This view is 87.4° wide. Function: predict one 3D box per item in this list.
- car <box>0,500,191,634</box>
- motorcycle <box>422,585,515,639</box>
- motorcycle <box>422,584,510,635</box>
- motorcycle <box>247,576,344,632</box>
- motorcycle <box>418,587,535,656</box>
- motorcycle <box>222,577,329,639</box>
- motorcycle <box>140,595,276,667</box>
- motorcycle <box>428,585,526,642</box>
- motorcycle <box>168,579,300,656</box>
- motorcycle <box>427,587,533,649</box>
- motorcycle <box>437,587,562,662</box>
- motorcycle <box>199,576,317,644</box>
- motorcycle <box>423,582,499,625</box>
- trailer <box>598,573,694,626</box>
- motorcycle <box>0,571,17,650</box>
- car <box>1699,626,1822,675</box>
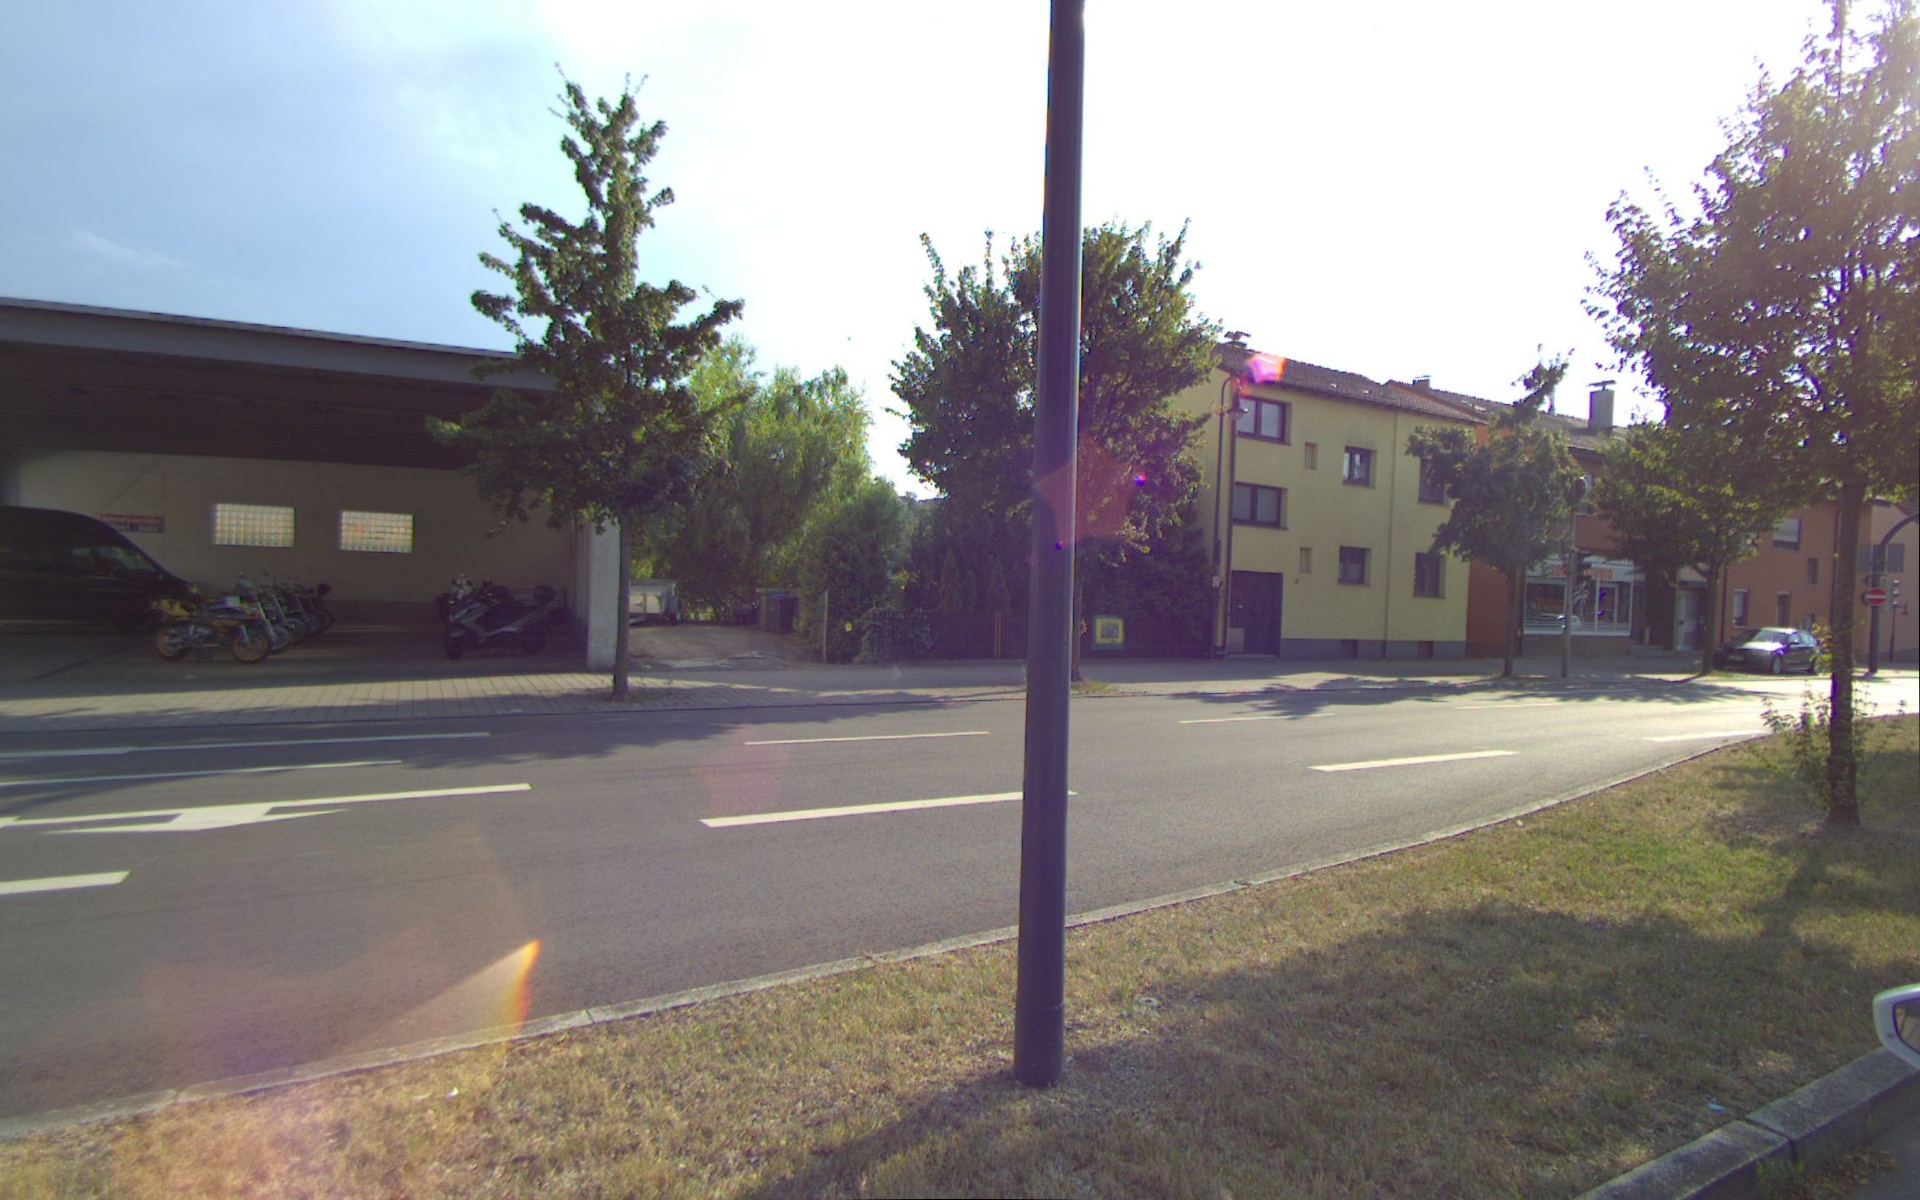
[{"bbox_3d":[-20.449,-0.689,22.088,1.962,2.789,5.280,1,0,26],"label":"car"},{"bbox_3d":[-12.645,0.285,25.918,0.621,1.314,2.113,2,2,36],"label":"motorcycle"},{"bbox_3d":[-13.510,0.232,27.516,0.621,1.314,2.113,2,2,36],"label":"motorcycle"},{"bbox_3d":[-16.906,0.094,25.570,2.219,1.354,0.631,1,0,10],"label":"motorcycle"},{"bbox_3d":[-9.809,0.397,20.457,0.621,1.314,2.113,2,2,36],"label":"motorcycle"},{"bbox_3d":[-15.881,0.175,23.311,2.219,1.354,0.631,1,0,10],"label":"motorcycle"},{"bbox_3d":[-12.492,0.500,16.695,1.993,1.101,0.631,1,0,12],"label":"motorcycle"},{"bbox_3d":[-11.763,0.305,24.535,0.621,1.314,2.113,2,2,36],"label":"motorcycle"},{"bbox_3d":[-13.628,0.314,18.860,2.219,1.354,0.631,1,0,10],"label":"motorcycle"},{"bbox_3d":[-10.739,0.378,22.535,0.621,1.314,2.113,2,2,36],"label":"motorcycle"},{"bbox_3d":[-8.615,0.426,18.895,0.621,1.314,2.113,2,2,36],"label":"motorcycle"},{"bbox_3d":[-14.749,0.199,21.102,2.219,1.354,0.631,1,0,10],"label":"motorcycle"},{"bbox_3d":[-15.956,0.091,32.174,0.621,1.314,2.113,2,2,36],"label":"motorcycle"},{"bbox_3d":[-8.214,-0.013,26.616,1.698,1.280,3.995,1,0,-7],"label":"trailer"},{"bbox_3d":[-17.283,0.164,16.722,0.619,1.380,2.225,1,0,24],"label":"motorcycle"},{"bbox_3d":[25.972,1.596,32.556,3.953,1.319,1.728,1,5,-30],"label":"car"}]
